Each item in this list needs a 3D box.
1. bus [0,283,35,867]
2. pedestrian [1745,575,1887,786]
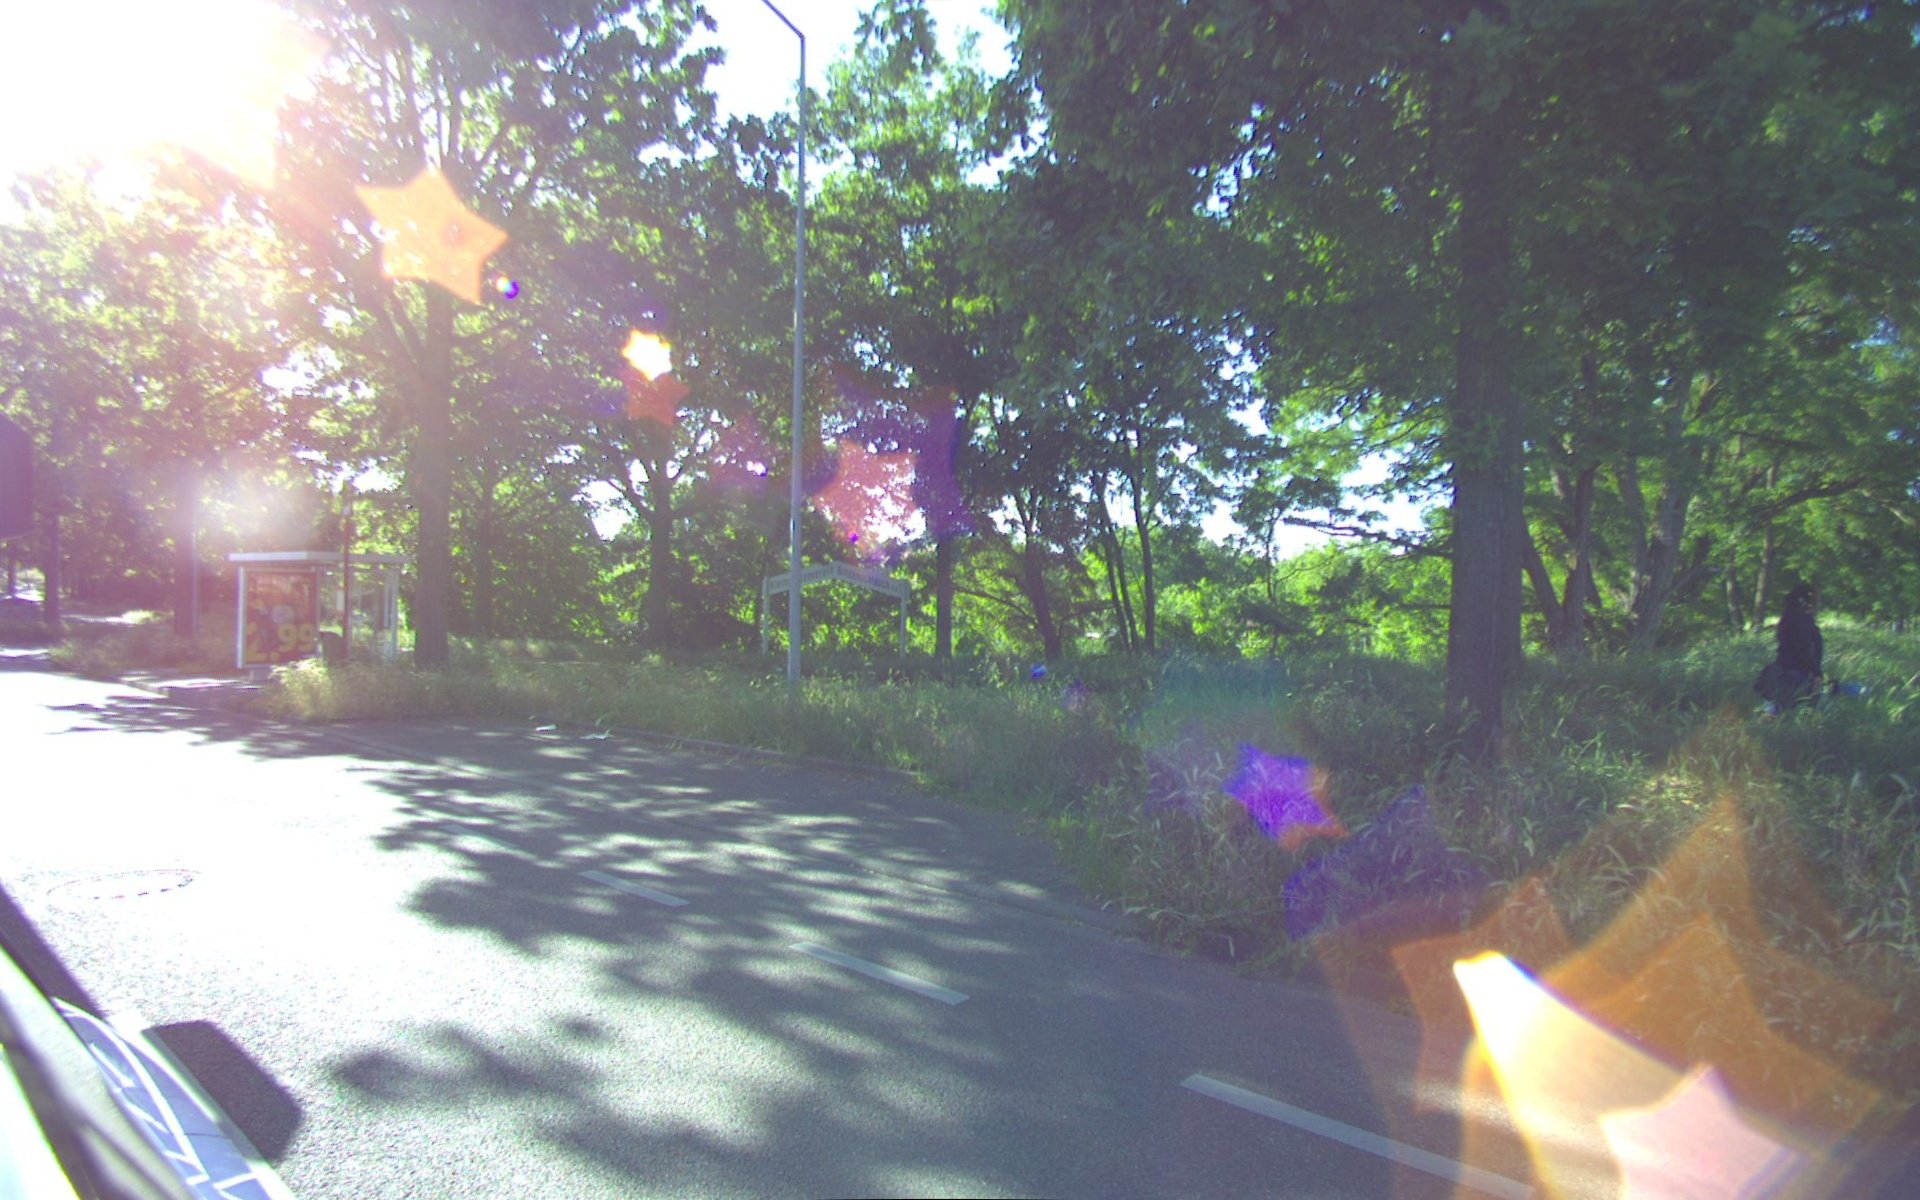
[{"bbox_3d":[-10.662,-0.071,8.374,12.883,3.005,2.755,-1,0,40],"label":"bus"},{"bbox_3d":[7.456,0.651,8.824,0.891,1.701,0.903,-1,0,42],"label":"pedestrian"}]
